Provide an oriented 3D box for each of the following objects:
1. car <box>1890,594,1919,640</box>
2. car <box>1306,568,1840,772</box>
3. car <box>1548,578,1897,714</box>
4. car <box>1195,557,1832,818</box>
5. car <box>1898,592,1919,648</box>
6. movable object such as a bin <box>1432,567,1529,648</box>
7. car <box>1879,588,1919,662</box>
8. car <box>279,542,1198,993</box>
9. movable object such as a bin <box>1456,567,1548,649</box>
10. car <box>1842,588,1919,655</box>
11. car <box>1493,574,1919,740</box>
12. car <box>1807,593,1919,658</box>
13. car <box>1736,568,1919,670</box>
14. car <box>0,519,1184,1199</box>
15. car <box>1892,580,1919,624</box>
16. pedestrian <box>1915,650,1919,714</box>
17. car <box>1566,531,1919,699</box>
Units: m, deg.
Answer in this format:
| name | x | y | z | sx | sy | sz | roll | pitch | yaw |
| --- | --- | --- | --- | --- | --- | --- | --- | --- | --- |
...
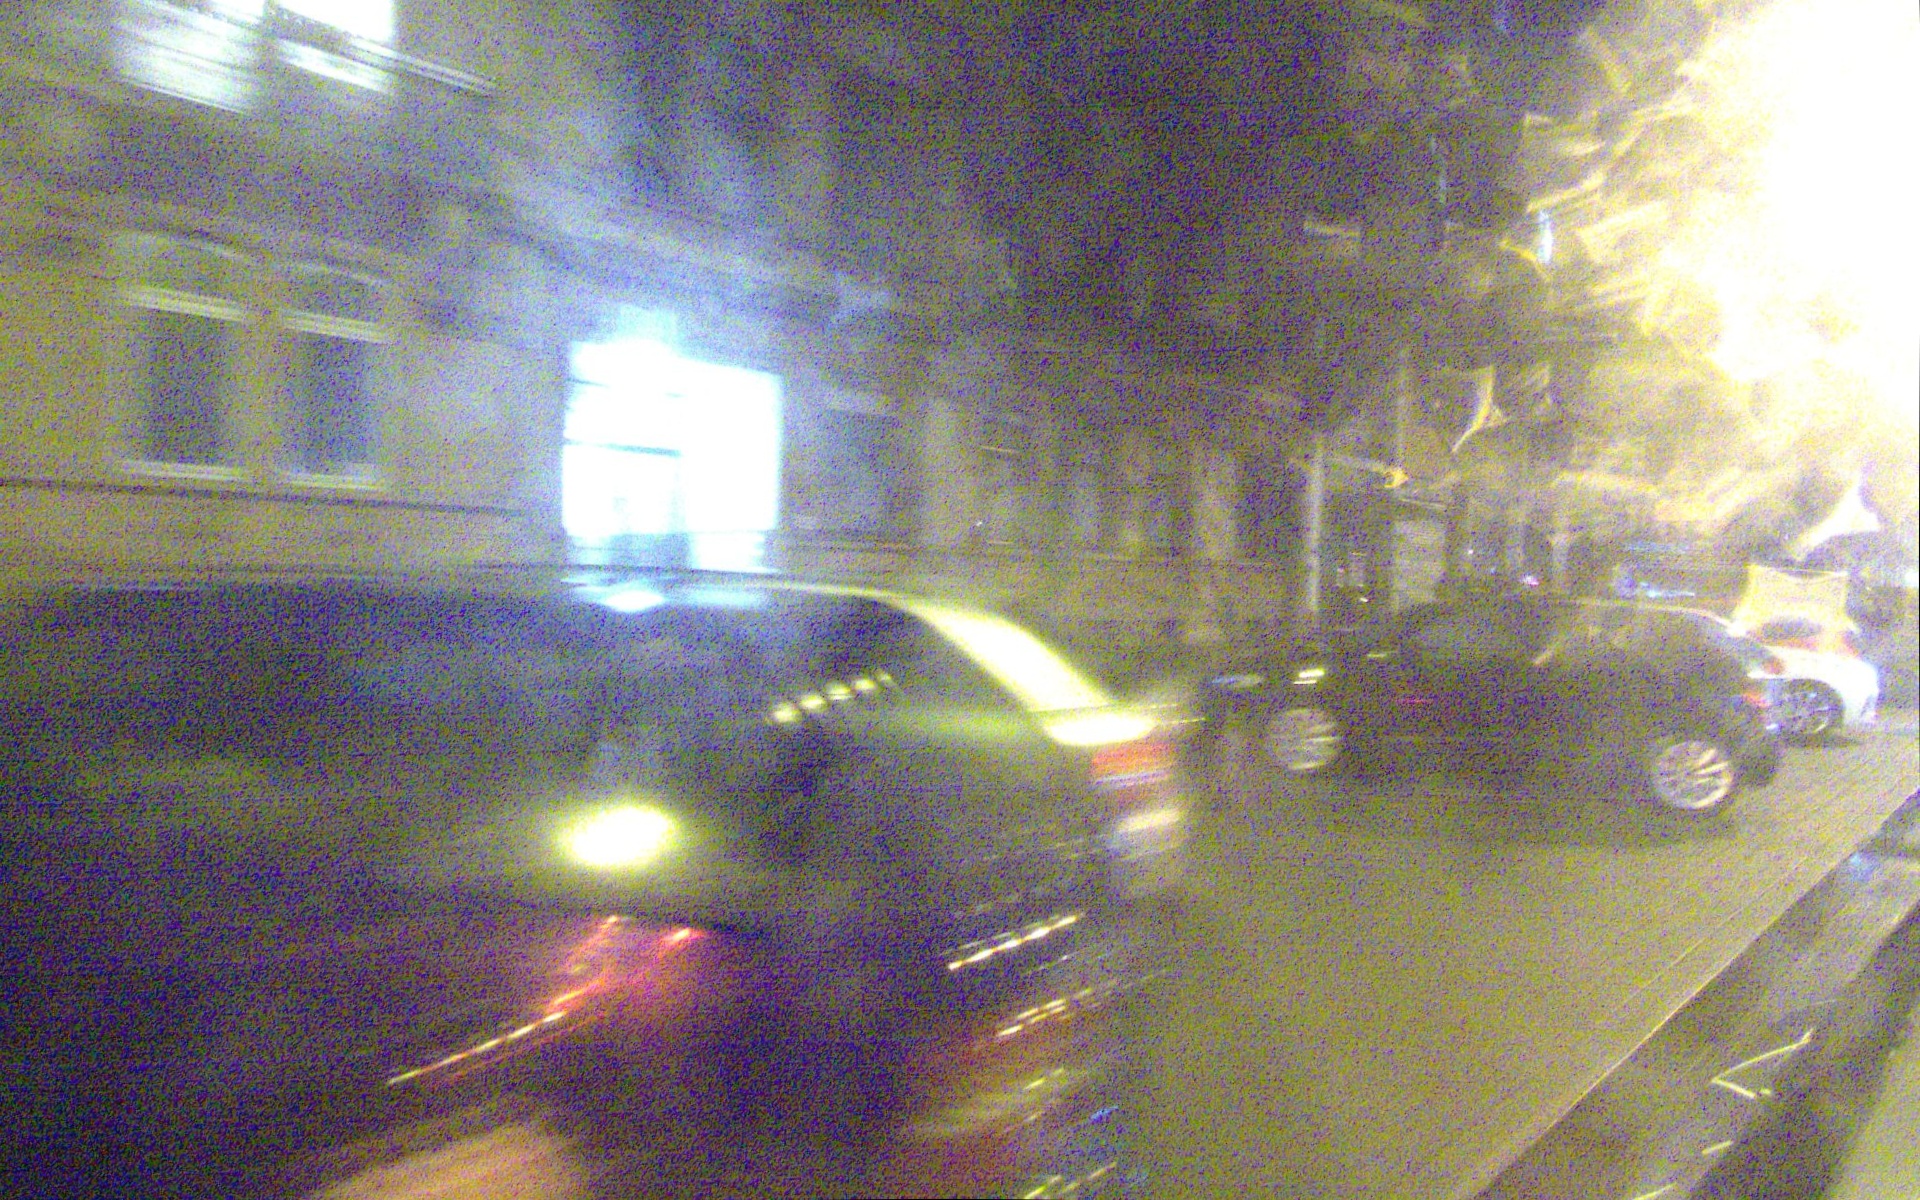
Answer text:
| name | x | y | z | sx | sy | sz | roll | pitch | yaw |
| --- | --- | --- | --- | --- | --- | --- | --- | --- | --- |
| car | 35.114 | 0.694 | 35.167 | 3.674 | 1.541 | 1.643 | 4 | 3 | 25 |
| car | 5.615 | 0.546 | 9.892 | 3.939 | 1.571 | 1.993 | 2 | 2 | 13 |
| car | 10.150 | 0.544 | 13.745 | 3.351 | 1.561 | 1.571 | 2 | 2 | 14 |
| car | 3.909 | 0.517 | 7.925 | 3.943 | 1.571 | 1.797 | 2 | 2 | 15 |
| car | 30.099 | 0.607 | 29.628 | 3.533 | 1.631 | 1.696 | 1 | 0 | 29 |
| movable object such as a bin | 9.898 | 0.119 | 19.275 | 0.981 | 1.388 | 1.259 | 0 | 6 | -40 |
| car | 24.783 | 0.601 | 24.190 | 3.754 | 1.750 | 1.731 | 0 | 0 | 19 |
| car | -0.926 | 0.523 | 4.812 | 3.942 | 1.470 | 1.681 | 2 | 2 | 15 |
| movable object such as a bin | 10.743 | 0.142 | 20.076 | 0.981 | 1.468 | 1.213 | 0 | 6 | -40 |
| car | 27.514 | 0.637 | 28.138 | 4.060 | 1.786 | 1.845 | 3 | 1 | 23 |
| car | 8.320 | 0.547 | 11.644 | 3.608 | 1.561 | 1.550 | 3 | 2 | 21 |
| car | 25.021 | 0.670 | 26.446 | 4.012 | 1.631 | 1.832 | 1 | 0 | 21 |
| car | 19.179 | 0.398 | 21.168 | 4.187 | 1.881 | 1.710 | 3 | 3 | 15 |
| car | -1.327 | 0.574 | 2.648 | 3.631 | 1.478 | 1.597 | 3 | 2 | 15 |
| car | 53.976 | 0.193 | 54.574 | 4.872 | 2.369 | 2.221 | 2 | 2 | 16 |
| pedestrian | 12.049 | 0.409 | 12.053 | 0.635 | 2.038 | 0.673 | 4 | 2 | 19 |
| car | 12.339 | 0.165 | 15.600 | 4.656 | 2.275 | 1.939 | 2 | 2 | 14 |
